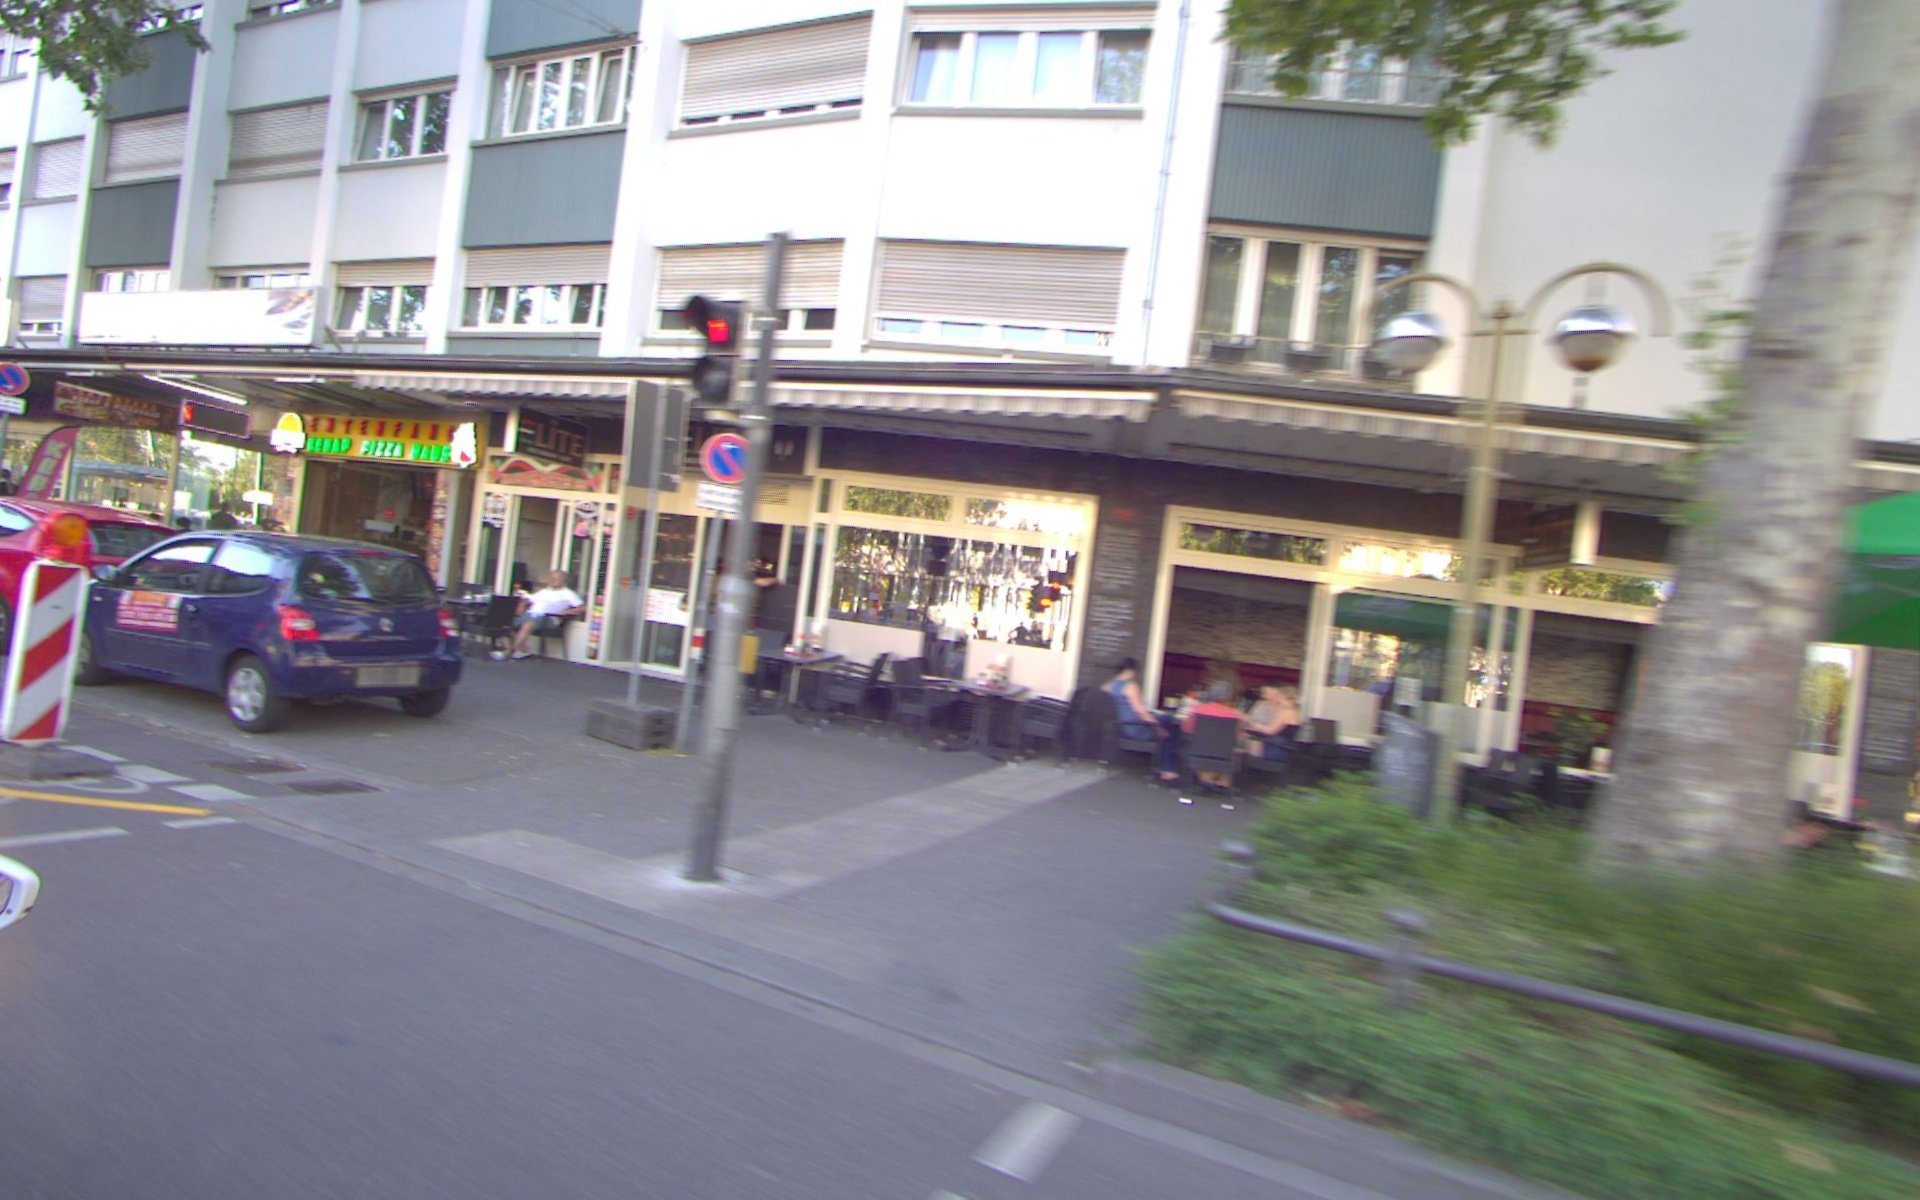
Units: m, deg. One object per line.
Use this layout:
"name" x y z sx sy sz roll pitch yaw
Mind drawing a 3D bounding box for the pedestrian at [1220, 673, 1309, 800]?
"pedestrian" 3.284 1.470 10.870 0.515 1.259 0.548 7 2 -30

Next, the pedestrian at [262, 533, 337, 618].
"pedestrian" -9.801 -0.357 14.926 0.739 1.172 0.594 7 3 27

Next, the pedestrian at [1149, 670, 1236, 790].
"pedestrian" 2.539 1.407 11.059 0.638 1.144 0.717 8 1 1

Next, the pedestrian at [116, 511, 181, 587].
"pedestrian" -14.107 -0.883 17.484 0.693 1.220 0.676 7 3 36

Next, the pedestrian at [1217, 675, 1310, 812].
"pedestrian" 3.127 1.445 10.336 0.704 1.233 0.666 9 2 20

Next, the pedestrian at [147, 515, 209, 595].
"pedestrian" -13.217 -0.762 17.003 0.700 1.260 0.615 7 3 35

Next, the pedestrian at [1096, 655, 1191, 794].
"pedestrian" 1.888 1.268 10.433 0.704 1.267 0.650 8 1 2

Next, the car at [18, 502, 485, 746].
"car" -6.119 0.134 8.694 3.540 1.485 1.622 8 2 23

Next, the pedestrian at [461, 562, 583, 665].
"pedestrian" -5.860 0.183 13.499 0.766 1.249 1.204 7 2 28

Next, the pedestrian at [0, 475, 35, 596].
"pedestrian" -16.597 -1.134 17.329 0.684 2.038 0.614 7 0 27

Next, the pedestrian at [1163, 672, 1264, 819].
"pedestrian" 2.429 1.378 9.736 0.638 1.213 0.846 8 1 4

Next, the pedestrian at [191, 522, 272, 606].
"pedestrian" -11.731 -0.577 16.206 0.687 1.237 0.863 8 3 40

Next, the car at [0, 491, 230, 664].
"car" -9.777 -0.345 10.502 3.777 1.448 1.670 7 2 22

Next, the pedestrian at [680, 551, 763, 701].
"pedestrian" -2.964 0.319 12.514 0.579 1.758 0.596 8 3 24
